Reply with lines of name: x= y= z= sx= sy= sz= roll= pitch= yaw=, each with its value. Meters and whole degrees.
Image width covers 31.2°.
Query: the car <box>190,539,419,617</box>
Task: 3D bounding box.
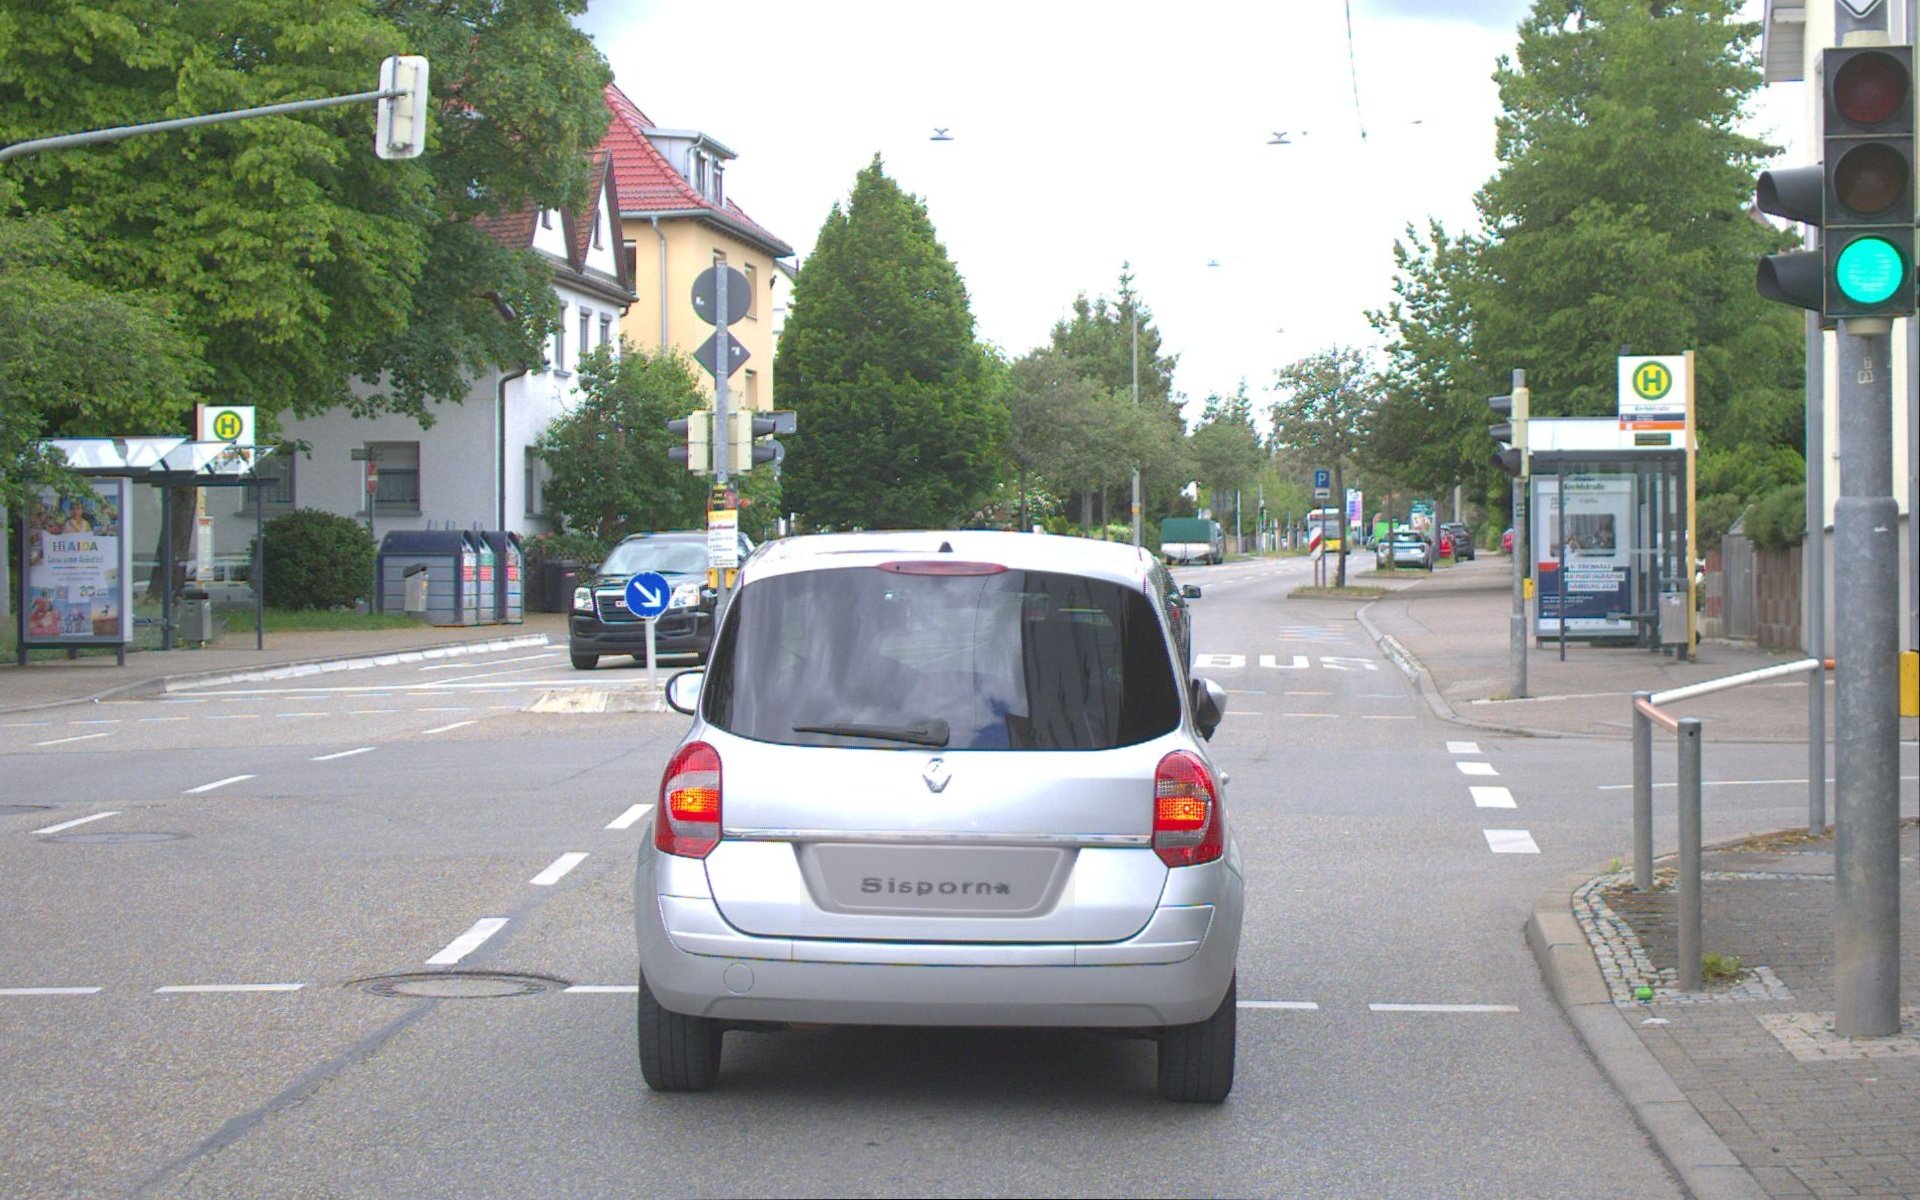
car: x=-12.677 y=-0.417 z=66.596 sx=3.988 sy=1.327 sz=1.722 roll=-2 pitch=0 yaw=7

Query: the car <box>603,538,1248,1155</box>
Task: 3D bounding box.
car: x=-0.043 y=0.624 z=10.838 sx=1.630 sy=1.551 sz=4.000 roll=1 pitch=0 yaw=1

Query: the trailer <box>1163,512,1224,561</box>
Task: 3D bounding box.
trailer: x=10.555 y=-2.838 z=154.842 sx=2.313 sy=2.079 sz=5.871 roll=1 pitch=0 yaw=8

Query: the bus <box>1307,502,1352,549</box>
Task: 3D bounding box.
bus: x=25.313 y=-5.093 z=235.140 sx=2.633 sy=3.075 sz=12.066 roll=-2 pitch=1 yaw=8

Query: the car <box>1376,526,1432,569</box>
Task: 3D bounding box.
car: x=14.705 y=-1.726 z=113.652 sx=1.651 sy=1.378 sz=3.998 roll=0 pitch=0 yaw=10

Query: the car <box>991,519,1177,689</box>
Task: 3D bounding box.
car: x=1.312 y=0.023 z=35.824 sx=1.829 sy=1.670 sz=3.574 roll=0 pitch=1 yaw=3

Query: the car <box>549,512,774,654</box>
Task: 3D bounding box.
car: x=-3.701 y=-0.199 z=43.478 sx=1.759 sy=1.629 sz=4.593 roll=-2 pitch=0 yaw=9

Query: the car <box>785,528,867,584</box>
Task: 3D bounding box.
car: x=-4.062 y=-1.358 z=104.820 sx=1.806 sy=1.559 sz=4.617 roll=-2 pitch=1 yaw=6

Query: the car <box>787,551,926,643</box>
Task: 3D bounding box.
car: x=-1.641 y=-0.049 z=55.683 sx=1.564 sy=1.415 sz=4.129 roll=0 pitch=0 yaw=8
